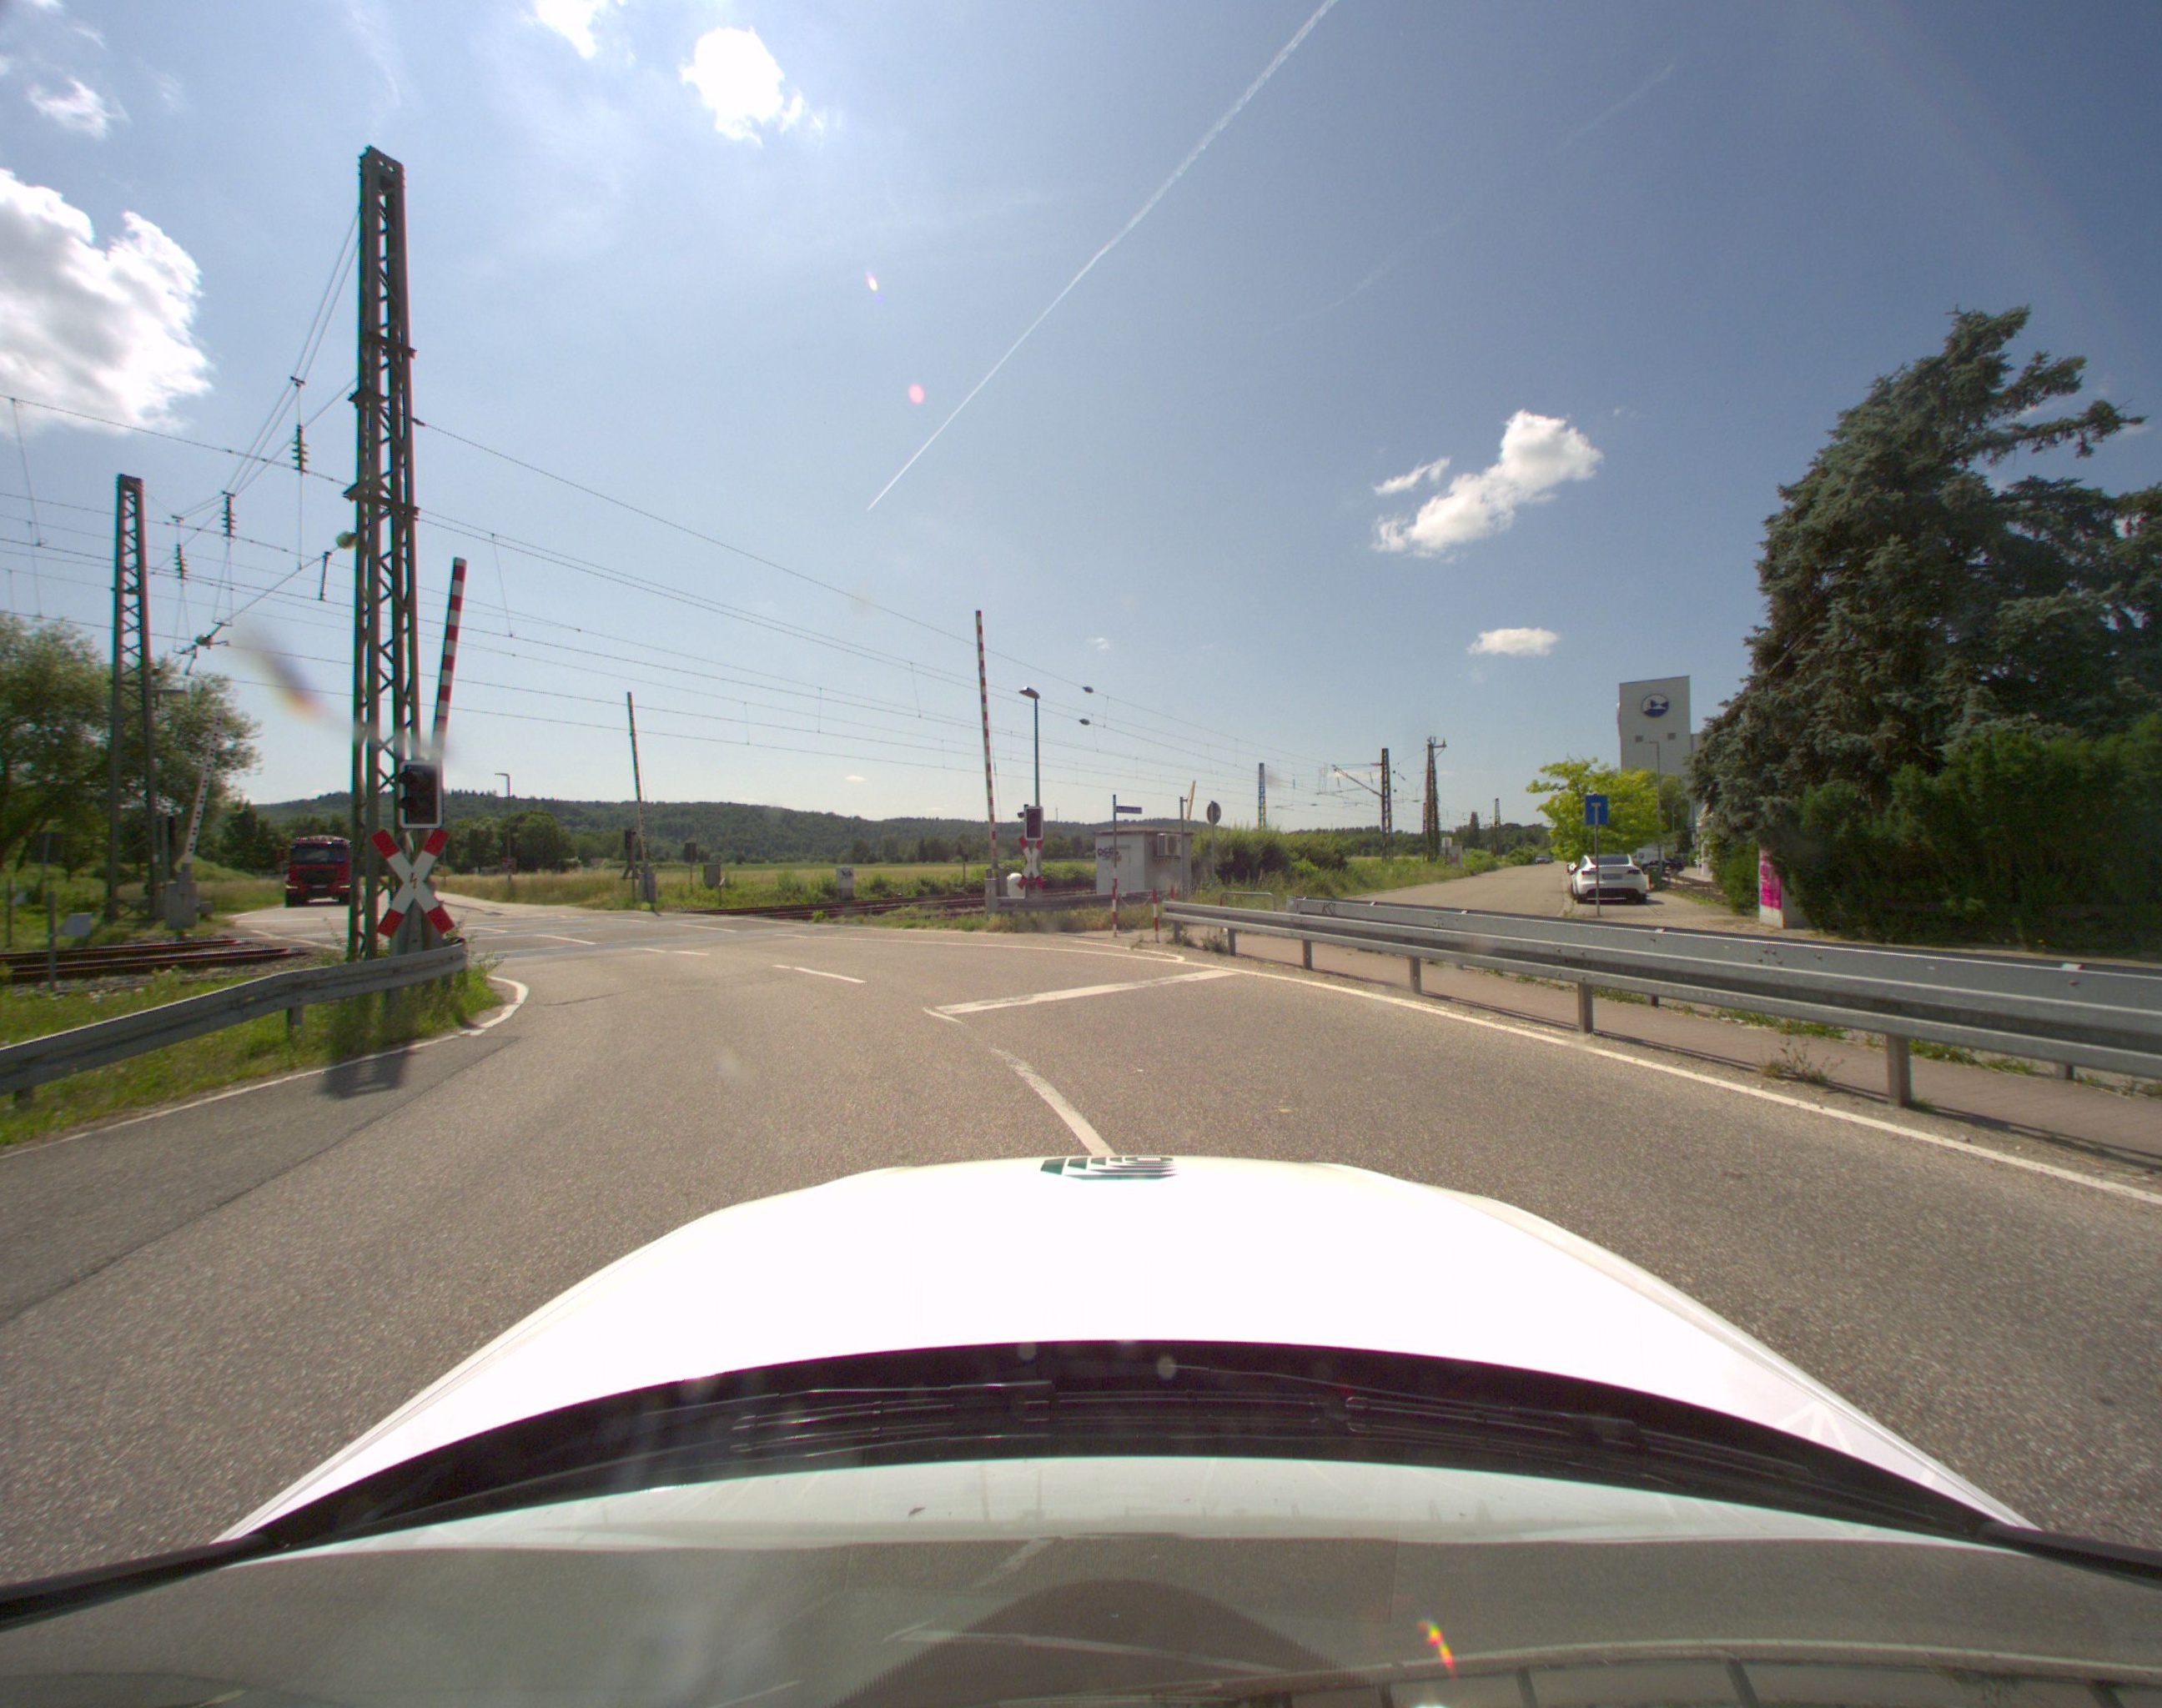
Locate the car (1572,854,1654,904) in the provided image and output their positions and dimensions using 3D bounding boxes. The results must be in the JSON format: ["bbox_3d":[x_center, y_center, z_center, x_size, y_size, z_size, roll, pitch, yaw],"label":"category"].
[{"bbox_3d":[17.642,0.780,27.210,1.974,1.510,4.482,-1,0,29],"label":"car"}]

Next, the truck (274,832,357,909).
[{"bbox_3d":[-41.999,0.938,44.968,2.896,3.745,12.003,1,-2,-41],"label":"truck"}]

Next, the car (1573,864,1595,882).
[{"bbox_3d":[44.048,1.638,71.269,1.576,1.453,3.354,-1,-1,32],"label":"car"}]

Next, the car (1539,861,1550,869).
[{"bbox_3d":[82.944,2.009,145.773,1.630,1.478,2.920,-1,-1,32],"label":"car"}]
